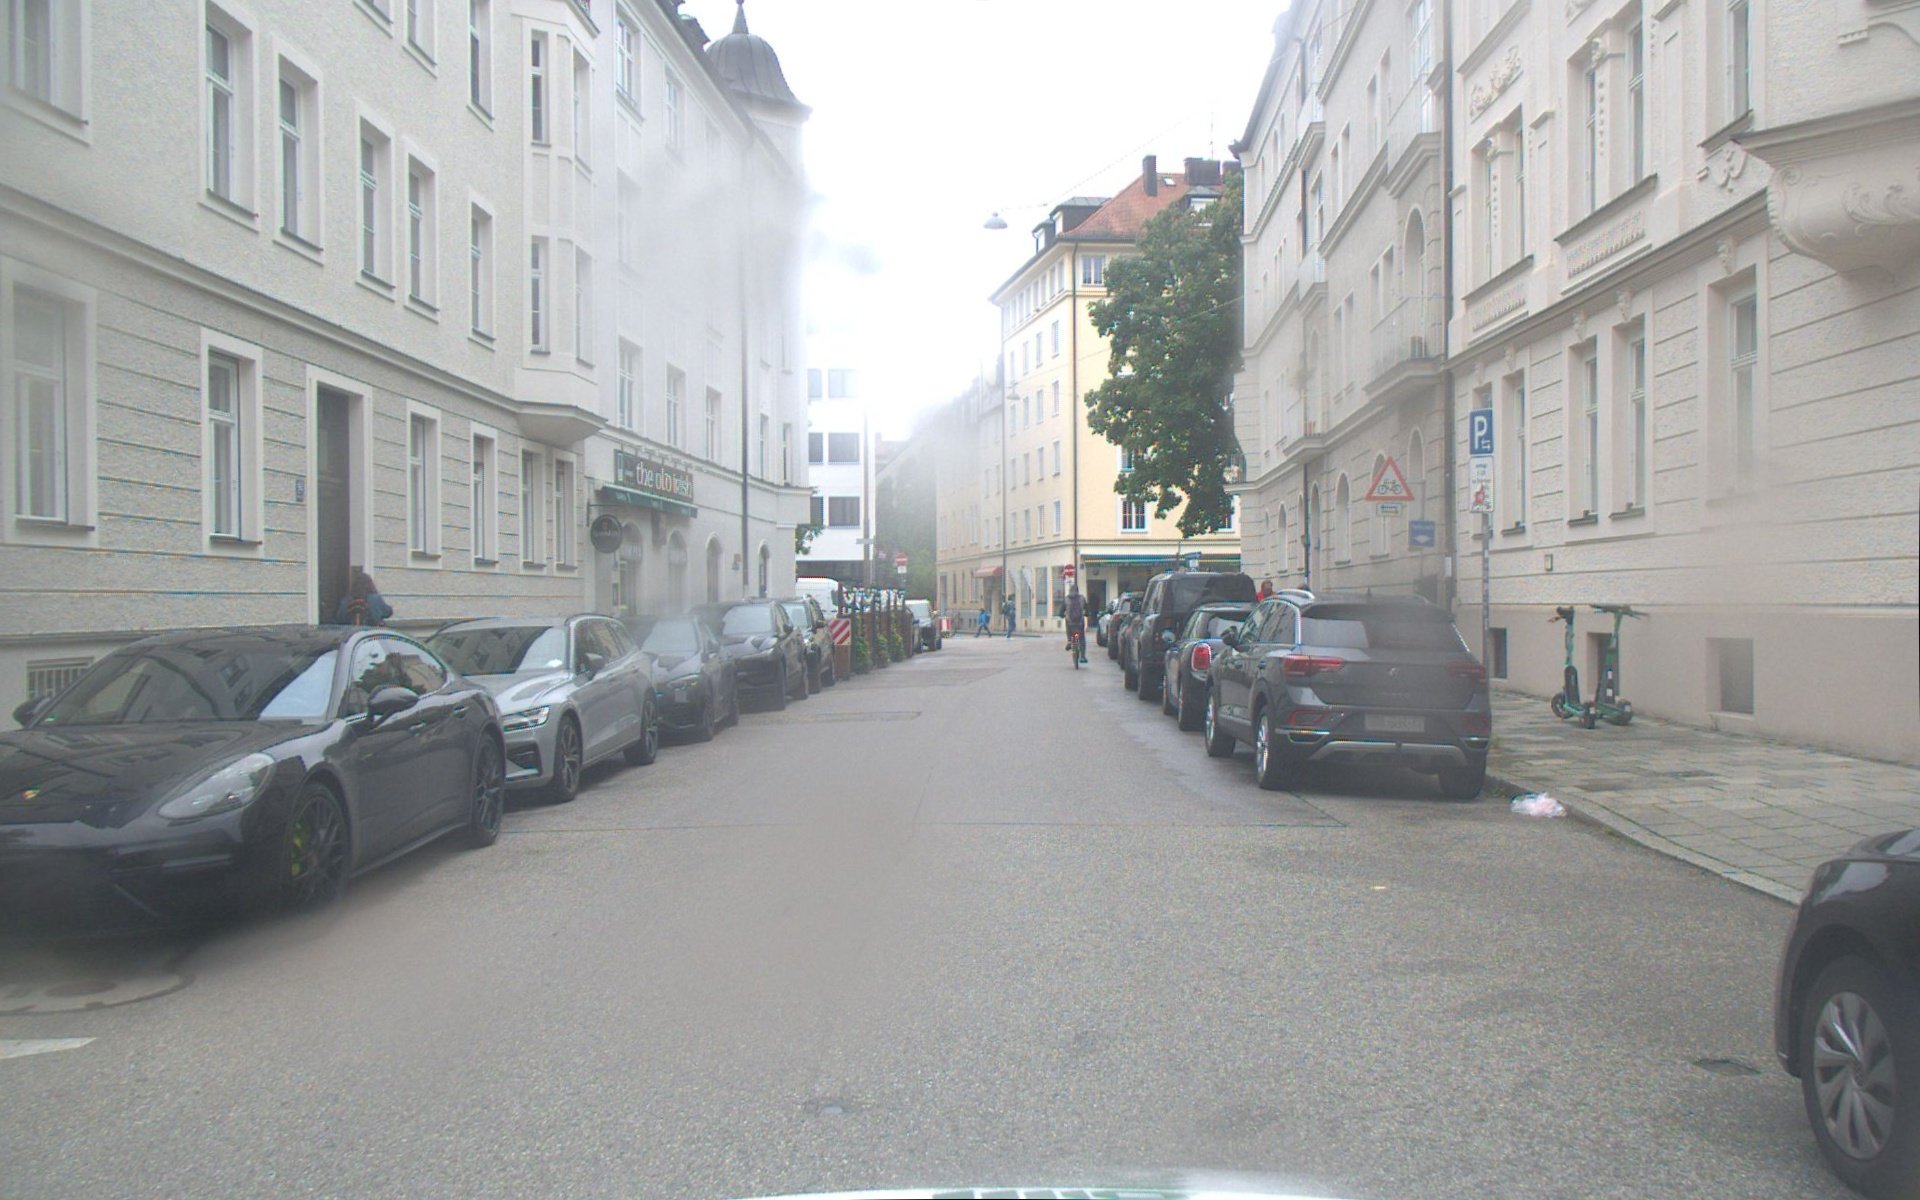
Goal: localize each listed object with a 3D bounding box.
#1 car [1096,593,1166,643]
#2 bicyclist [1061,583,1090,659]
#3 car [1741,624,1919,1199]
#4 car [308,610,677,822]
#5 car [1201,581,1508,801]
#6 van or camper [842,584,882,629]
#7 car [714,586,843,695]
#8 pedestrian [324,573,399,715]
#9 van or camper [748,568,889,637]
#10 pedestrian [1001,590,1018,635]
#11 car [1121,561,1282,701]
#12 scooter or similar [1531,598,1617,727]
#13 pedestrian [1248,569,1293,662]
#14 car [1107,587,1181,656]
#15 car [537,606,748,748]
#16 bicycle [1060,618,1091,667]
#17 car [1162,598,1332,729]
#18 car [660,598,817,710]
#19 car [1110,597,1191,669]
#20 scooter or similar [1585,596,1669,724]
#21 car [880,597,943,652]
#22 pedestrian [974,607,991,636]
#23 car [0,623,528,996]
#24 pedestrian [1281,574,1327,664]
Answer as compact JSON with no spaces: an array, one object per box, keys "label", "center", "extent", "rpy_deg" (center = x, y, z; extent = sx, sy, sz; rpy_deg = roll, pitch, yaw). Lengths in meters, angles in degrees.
[{"label":"car","center":[5.386,0.561,52.514],"extent":[1.715,1.522,3.909],"rpy_deg":[0,0,-1]},{"label":"bicyclist","center":[2.511,0.450,35.991],"extent":[0.593,1.635,0.758],"rpy_deg":[-1,0,5]},{"label":"car","center":[3.133,0.798,2.997],"extent":[1.579,1.419,4.000],"rpy_deg":[1,0,1]},{"label":"car","center":[-3.825,0.867,14.415],"extent":[1.757,1.444,4.511],"rpy_deg":[-4,0,1]},{"label":"car","center":[3.226,0.664,14.305],"extent":[1.672,1.615,4.000],"rpy_deg":[1,0,0]},{"label":"van or camper","center":[-5.794,0.376,97.523],"extent":[1.956,2.584,4.751],"rpy_deg":[-1,0,-8]},{"label":"car","center":[-3.167,0.657,29.575],"extent":[1.710,1.702,4.276],"rpy_deg":[-4,0,0]},{"label":"pedestrian","center":[-7.464,0.541,20.640],"extent":[0.683,1.737,0.665],"rpy_deg":[0,0,-1]},{"label":"van or camper","center":[-5.964,0.119,69.555],"extent":[5.791,2.724,1.870],"rpy_deg":[-1,-2,-7]},{"label":"pedestrian","center":[1.855,0.466,61.665],"extent":[0.598,1.690,0.551],"rpy_deg":[-1,0,6]},{"label":"car","center":[3.633,0.428,25.667],"extent":[1.871,1.918,4.715],"rpy_deg":[1,0,1]},{"label":"scooter or similar","center":[6.650,0.650,17.963],"extent":[0.529,1.310,1.505],"rpy_deg":[-3,0,9]},{"label":"pedestrian","center":[5.945,0.293,31.698],"extent":[0.689,1.758,0.703],"rpy_deg":[-2,0,-1]},{"label":"car","center":[4.702,0.519,42.636],"extent":[1.740,1.664,4.377],"rpy_deg":[0,0,4]},{"label":"car","center":[-3.653,0.823,19.794],"extent":[1.774,1.409,4.442],"rpy_deg":[-2,0,-2]},{"label":"bicycle","center":[2.515,0.916,35.985],"extent":[0.626,1.022,1.575],"rpy_deg":[-1,0,5]},{"label":"car","center":[3.394,0.702,20.128],"extent":[1.629,1.420,3.583],"rpy_deg":[1,0,3]},{"label":"car","center":[-3.221,0.738,24.803],"extent":[1.706,1.513,4.181],"rpy_deg":[-1,0,1]},{"label":"car","center":[4.232,0.702,37.195],"extent":[1.670,1.496,4.203],"rpy_deg":[-1,0,5]},{"label":"scooter or similar","center":[7.183,0.626,17.861],"extent":[0.496,1.310,1.352],"rpy_deg":[-3,0,10]},{"label":"car","center":[-1.520,0.757,53.106],"extent":[1.641,1.625,3.946],"rpy_deg":[-3,-1,3]},{"label":"pedestrian","center":[1.007,0.974,74.716],"extent":[0.684,1.292,0.651],"rpy_deg":[-1,0,6]},{"label":"car","center":[-3.829,0.866,8.906],"extent":[1.812,1.391,4.701],"rpy_deg":[-1,0,-1]},{"label":"pedestrian","center":[6.698,0.369,32.214],"extent":[0.666,1.703,0.654],"rpy_deg":[-3,0,-1]}]
